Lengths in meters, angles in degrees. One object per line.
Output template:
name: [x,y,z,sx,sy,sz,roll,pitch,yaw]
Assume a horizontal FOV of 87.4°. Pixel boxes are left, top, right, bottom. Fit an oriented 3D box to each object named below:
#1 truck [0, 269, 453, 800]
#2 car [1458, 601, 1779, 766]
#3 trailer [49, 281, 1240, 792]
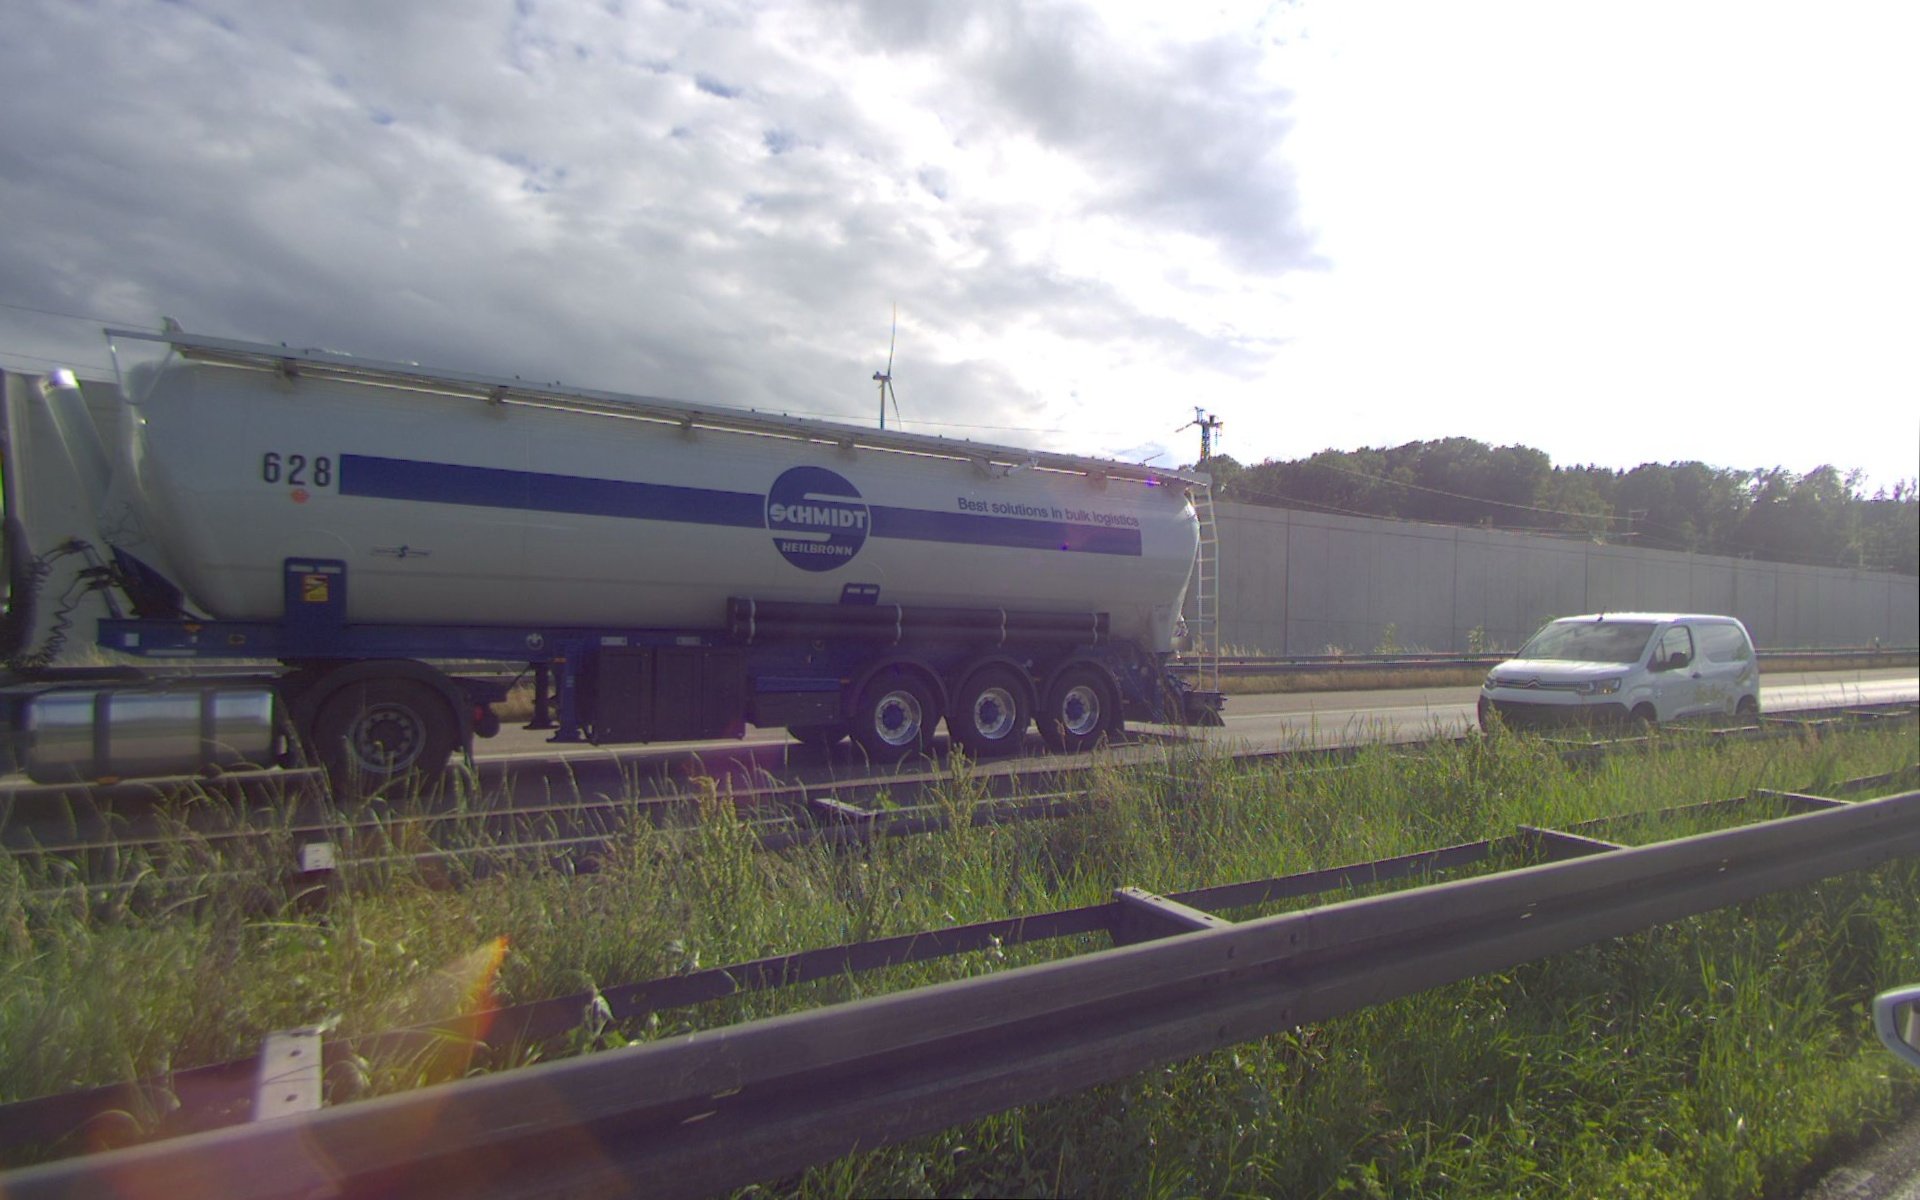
truck: [-7.407,-0.441,8.478,5.356,3.848,2.540,2,-2,-31]
car: [8.793,1.020,13.345,4.230,1.858,1.851,2,0,-30]
trailer: [-2.051,-0.253,11.795,12.398,3.820,2.528,2,-2,-31]
